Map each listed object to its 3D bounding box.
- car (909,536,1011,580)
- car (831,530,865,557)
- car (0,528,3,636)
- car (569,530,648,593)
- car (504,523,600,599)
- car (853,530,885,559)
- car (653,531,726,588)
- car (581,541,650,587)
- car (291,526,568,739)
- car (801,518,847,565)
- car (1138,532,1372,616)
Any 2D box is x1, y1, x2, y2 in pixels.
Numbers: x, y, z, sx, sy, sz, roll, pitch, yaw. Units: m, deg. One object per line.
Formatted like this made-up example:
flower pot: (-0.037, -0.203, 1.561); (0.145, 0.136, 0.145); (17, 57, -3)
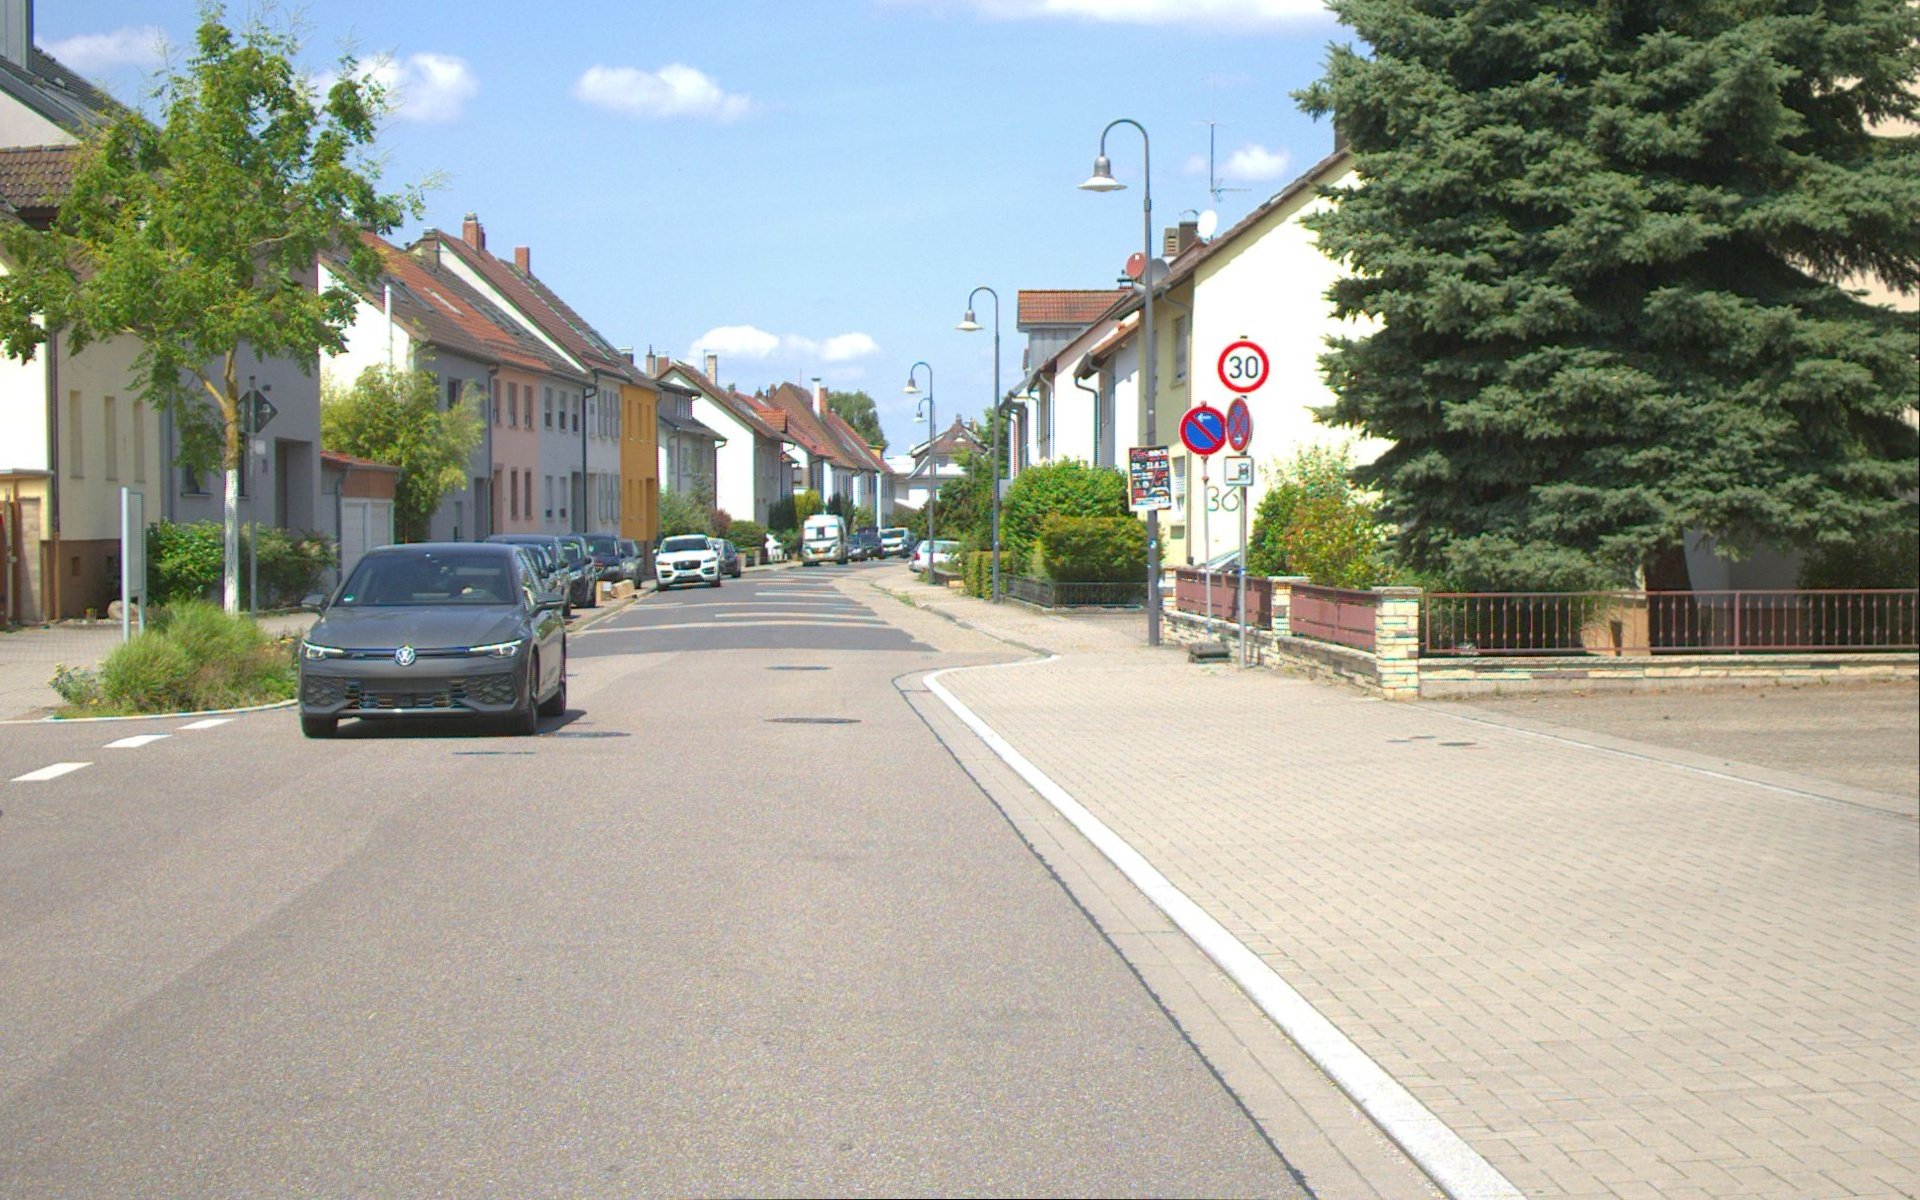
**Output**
car: (0.001, -1.492, 121.830); (3.523, 1.459, 1.628); (1, 0, -2)
car: (-6.445, -3.250, 197.713); (1.691, 1.498, 3.771); (1, 0, 1)
car: (-14.741, -0.268, 45.639); (3.525, 1.466, 1.792); (1, 1, 2)
car: (-9.436, -1.049, 92.488); (1.810, 1.603, 4.000); (2, 1, -2)
car: (-9.191, -0.894, 77.704); (1.779, 1.603, 4.000); (2, 1, -2)
car: (-5.448, -3.283, 205.226); (1.691, 1.654, 3.771); (1, 0, 1)
car: (-8.302, -1.245, 105.689); (1.850, 1.653, 4.000); (2, 1, 0)
car: (-10.465, -1.098, 104.634); (1.672, 1.331, 3.722); (2, 1, 0)
car: (-4.141, 0.200, 27.367); (1.762, 1.517, 4.050); (-2, 1, -3)
car: (-6.920, -2.983, 175.540); (2.045, 2.304, 3.771); (1, 0, 1)
car: (5.278, -0.477, 61.807); (3.986, 1.468, 1.746); (-1, 1, -2)
